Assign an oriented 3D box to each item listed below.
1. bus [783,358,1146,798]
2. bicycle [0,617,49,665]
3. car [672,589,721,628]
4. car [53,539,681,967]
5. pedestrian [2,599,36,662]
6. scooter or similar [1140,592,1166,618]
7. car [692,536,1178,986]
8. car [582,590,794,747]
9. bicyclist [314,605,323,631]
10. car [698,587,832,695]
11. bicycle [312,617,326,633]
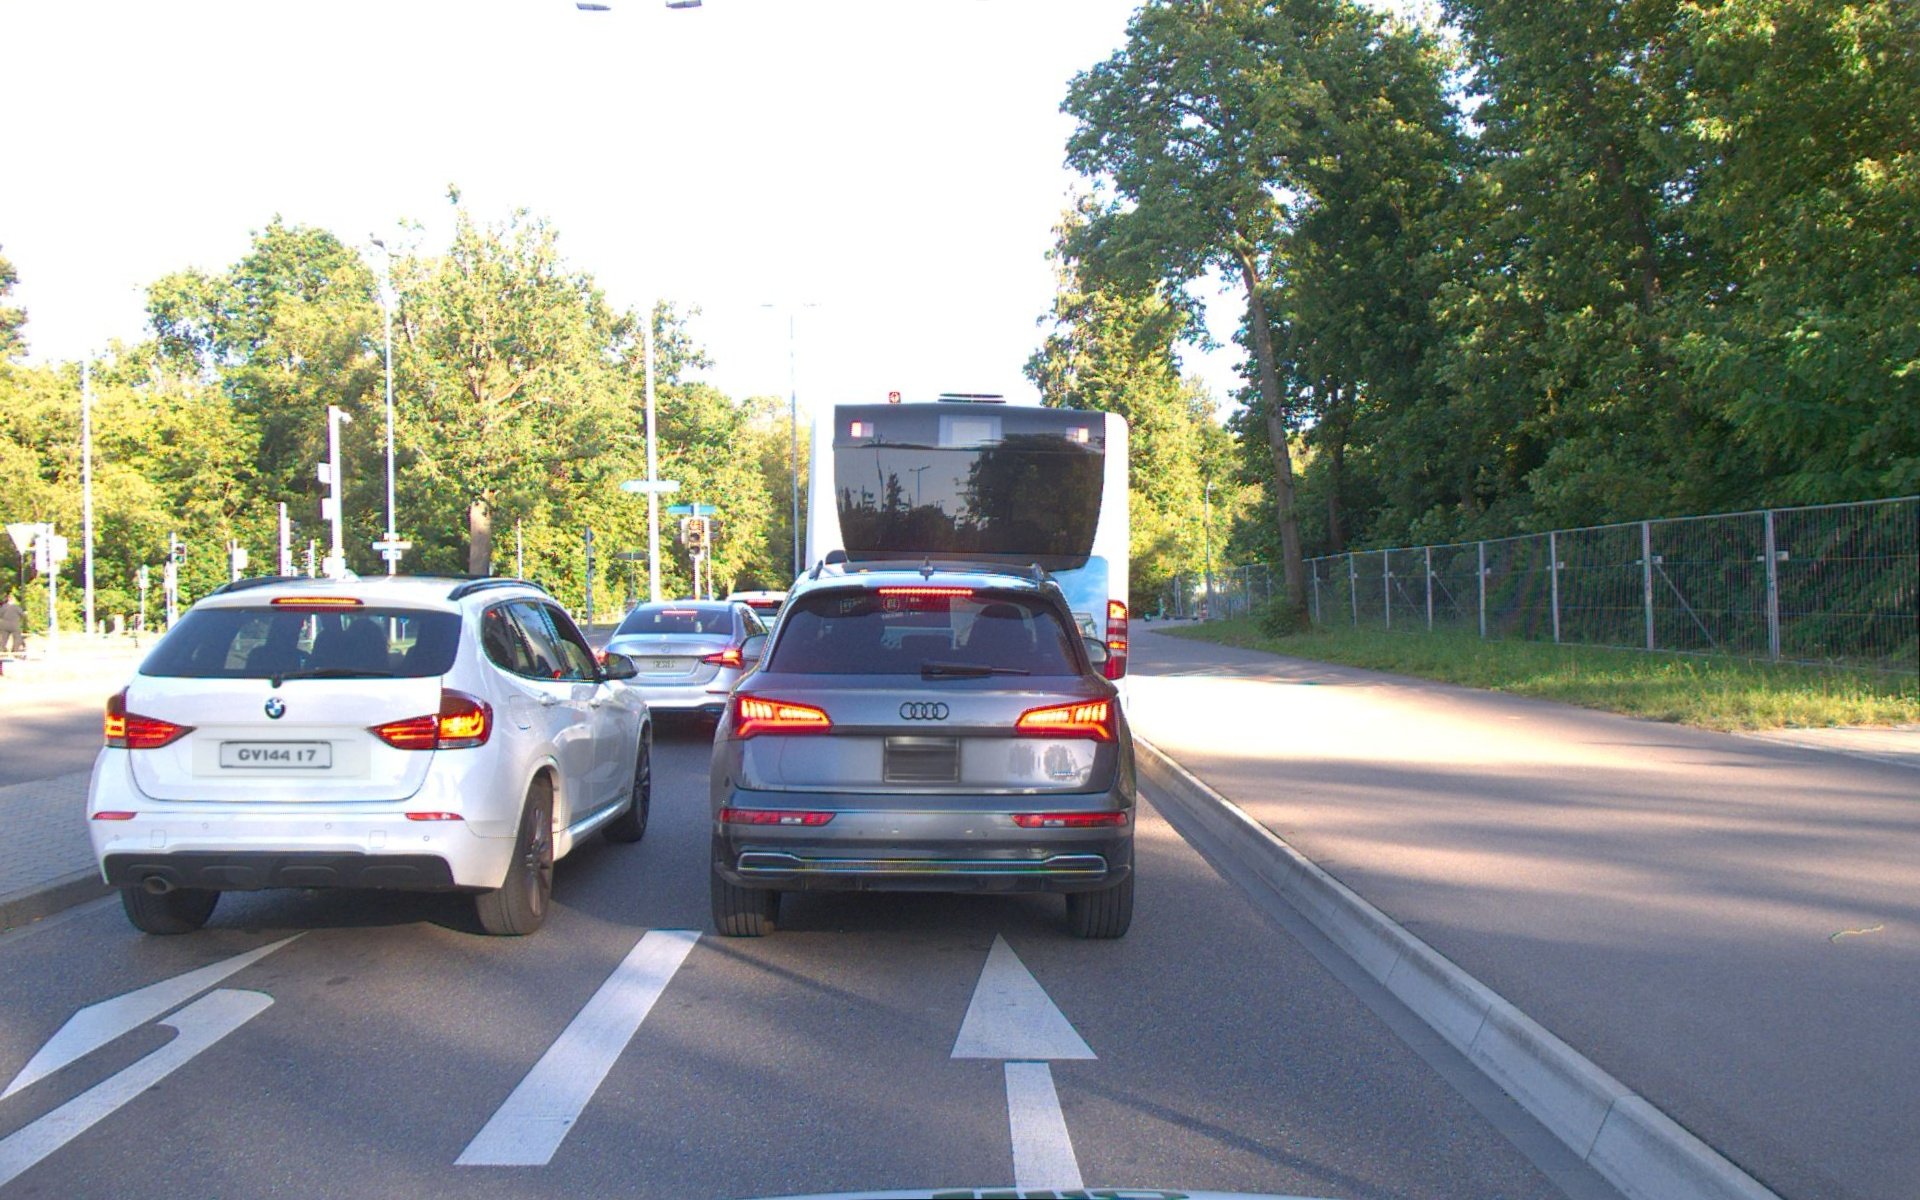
[{"bbox_3d":[0.053,-0.200,15.131,2.623,3.196,5.882,1,1,0],"label":"bus"},{"bbox_3d":[-24.151,1.033,42.415,0.458,1.198,2.003,1,0,-1],"label":"bicycle"},{"bbox_3d":[-11.860,0.364,74.645,1.955,1.691,3.995,-2,0,-6],"label":"car"},{"bbox_3d":[-2.628,0.566,8.519,1.683,1.608,4.433,1,0,-1],"label":"car"},{"bbox_3d":[-24.156,0.772,42.471,0.472,1.589,0.648,1,-1,-1],"label":"pedestrian"},{"bbox_3d":[9.112,0.251,77.967,1.158,1.195,0.659,1,0,11],"label":"scooter or similar"},{"bbox_3d":[-0.122,0.589,8.312,1.830,1.693,4.000,1,1,-1],"label":"car"},{"bbox_3d":[-2.862,0.655,18.253,1.749,1.469,4.276,1,1,-2],"label":"car"},{"bbox_3d":[-24.748,0.700,63.818,0.268,0.979,0.240,1,-1,-5],"label":"bicyclist"},{"bbox_3d":[-3.126,0.614,27.226,1.771,1.599,4.000,1,1,-1],"label":"car"},{"bbox_3d":[-24.749,0.956,63.856,0.261,0.592,0.838,1,0,-6],"label":"bicycle"}]
